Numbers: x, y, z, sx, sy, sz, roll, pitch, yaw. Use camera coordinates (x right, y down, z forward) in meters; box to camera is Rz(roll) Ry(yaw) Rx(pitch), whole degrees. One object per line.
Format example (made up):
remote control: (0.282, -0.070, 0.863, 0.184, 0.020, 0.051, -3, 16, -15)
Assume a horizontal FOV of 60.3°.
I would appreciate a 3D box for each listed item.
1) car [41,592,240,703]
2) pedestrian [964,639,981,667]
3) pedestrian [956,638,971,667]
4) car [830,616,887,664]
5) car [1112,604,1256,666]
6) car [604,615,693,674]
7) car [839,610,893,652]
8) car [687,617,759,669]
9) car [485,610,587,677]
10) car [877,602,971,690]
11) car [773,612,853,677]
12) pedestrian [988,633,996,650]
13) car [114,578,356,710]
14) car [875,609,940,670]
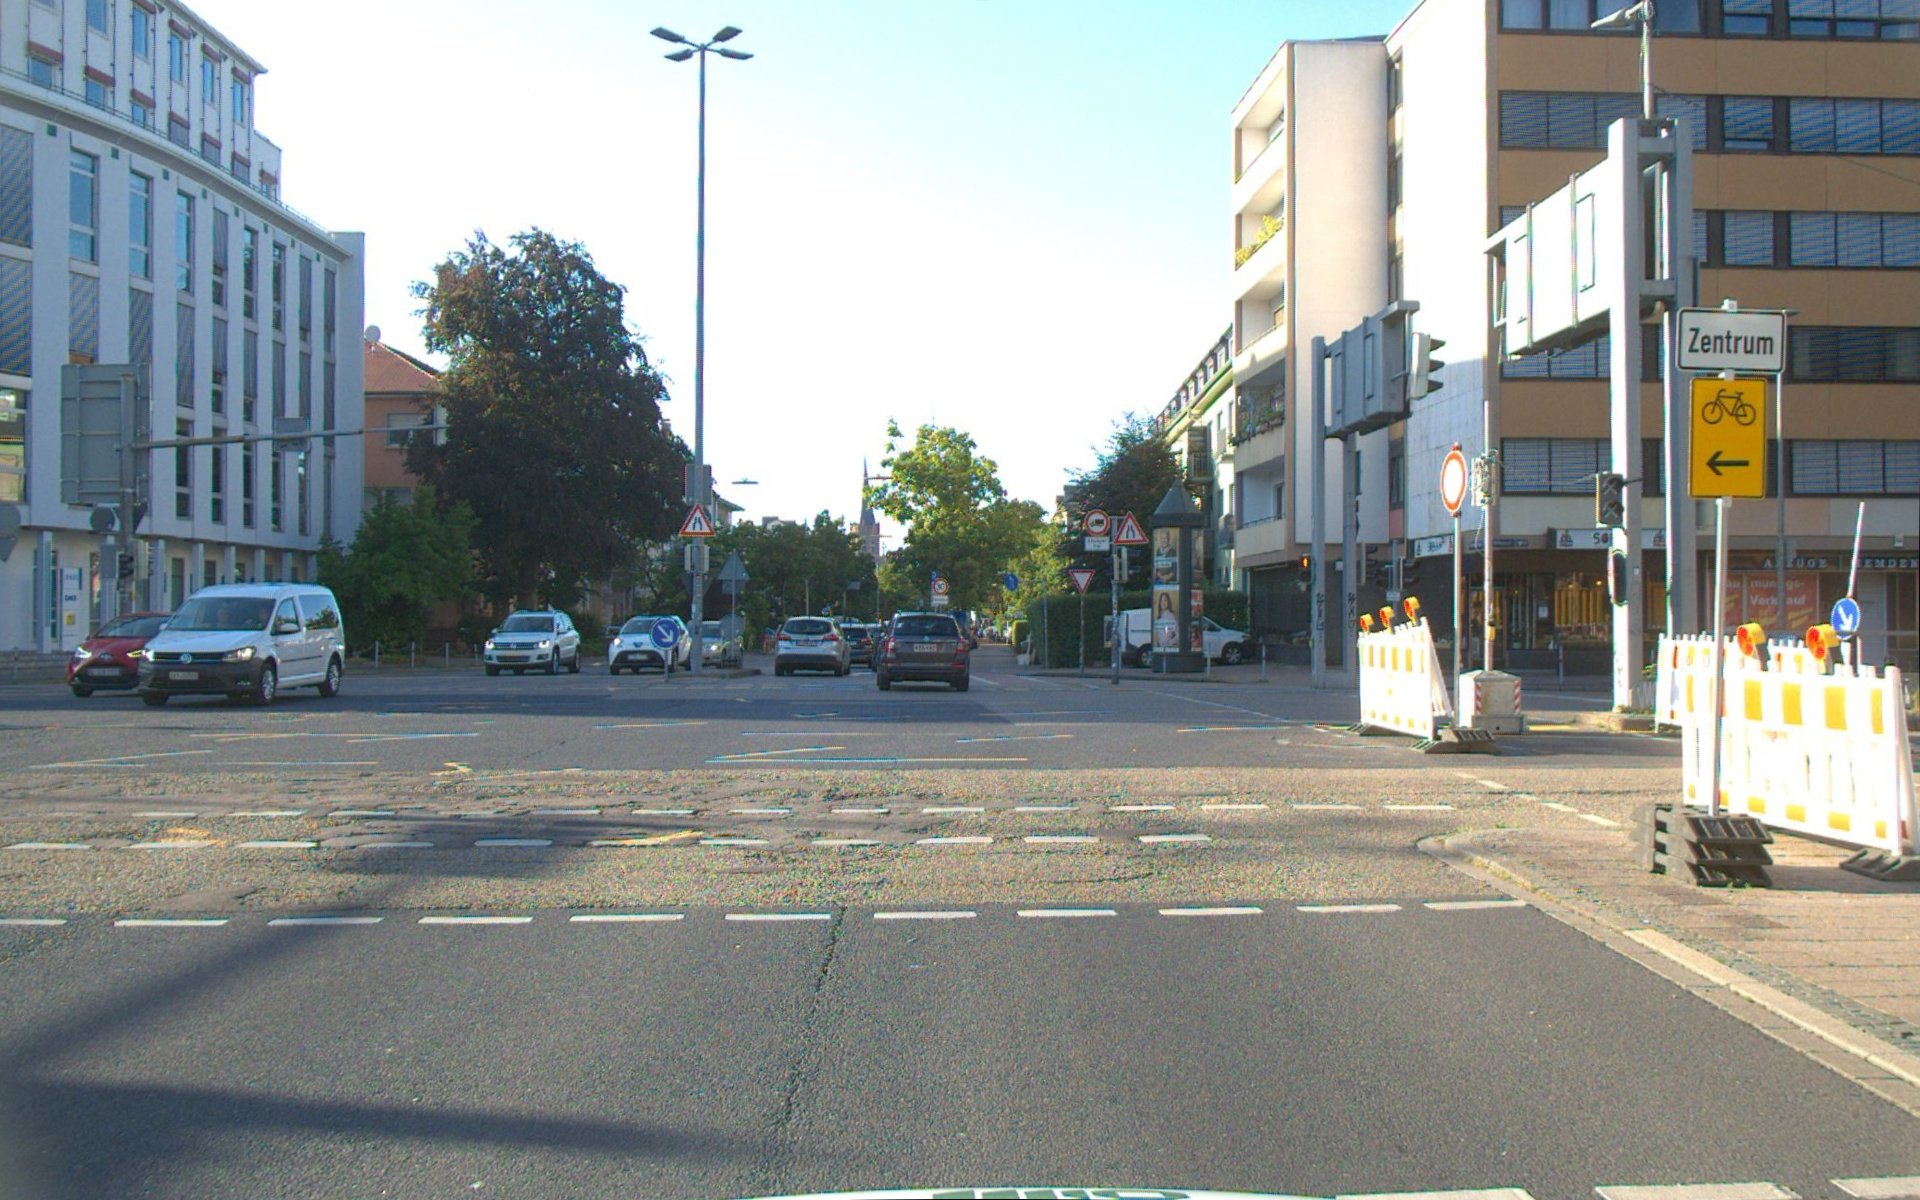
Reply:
car: (-14.529, 0.809, 29.563, 1.713, 1.843, 4.047, 0, 0, -3)
pedestrian: (0.952, 3.927, 123.267, 1.185, 2.049, 1.421, 0, -1, -2)
pedestrian: (0.183, 3.017, 94.478, 0.845, 1.636, 0.705, 0, -1, -2)
car: (-3.485, 1.344, 57.148, 1.712, 1.591, 4.049, 0, 0, 0)
car: (7.087, 1.090, 52.605, 4.276, 1.910, 1.999, 0, -1, -2)
car: (-8.271, 1.153, 44.240, 1.811, 1.487, 4.047, 0, 0, -3)
car: (-3.696, 1.247, 65.530, 1.953, 1.534, 3.998, -1, -2, -2)
car: (-7.201, 1.280, 50.560, 1.811, 1.487, 4.047, 0, 0, -3)
car: (-11.141, 1.108, 43.697, 1.843, 1.683, 4.047, 0, 0, -3)
car: (-0.652, 0.846, 31.989, 1.712, 1.591, 4.049, 0, 0, 0)
car: (-3.759, 1.114, 42.832, 1.712, 1.591, 4.049, 0, 0, 0)
pedestrian: (3.236, 4.238, 168.379, 0.750, 1.713, 0.999, 0, -1, -1)
car: (-11.048, 0.634, 25.603, 1.877, 1.843, 4.714, 0, 0, -3)
car: (-1.498, 1.098, 47.395, 1.782, 1.669, 3.998, 0, -1, -2)
